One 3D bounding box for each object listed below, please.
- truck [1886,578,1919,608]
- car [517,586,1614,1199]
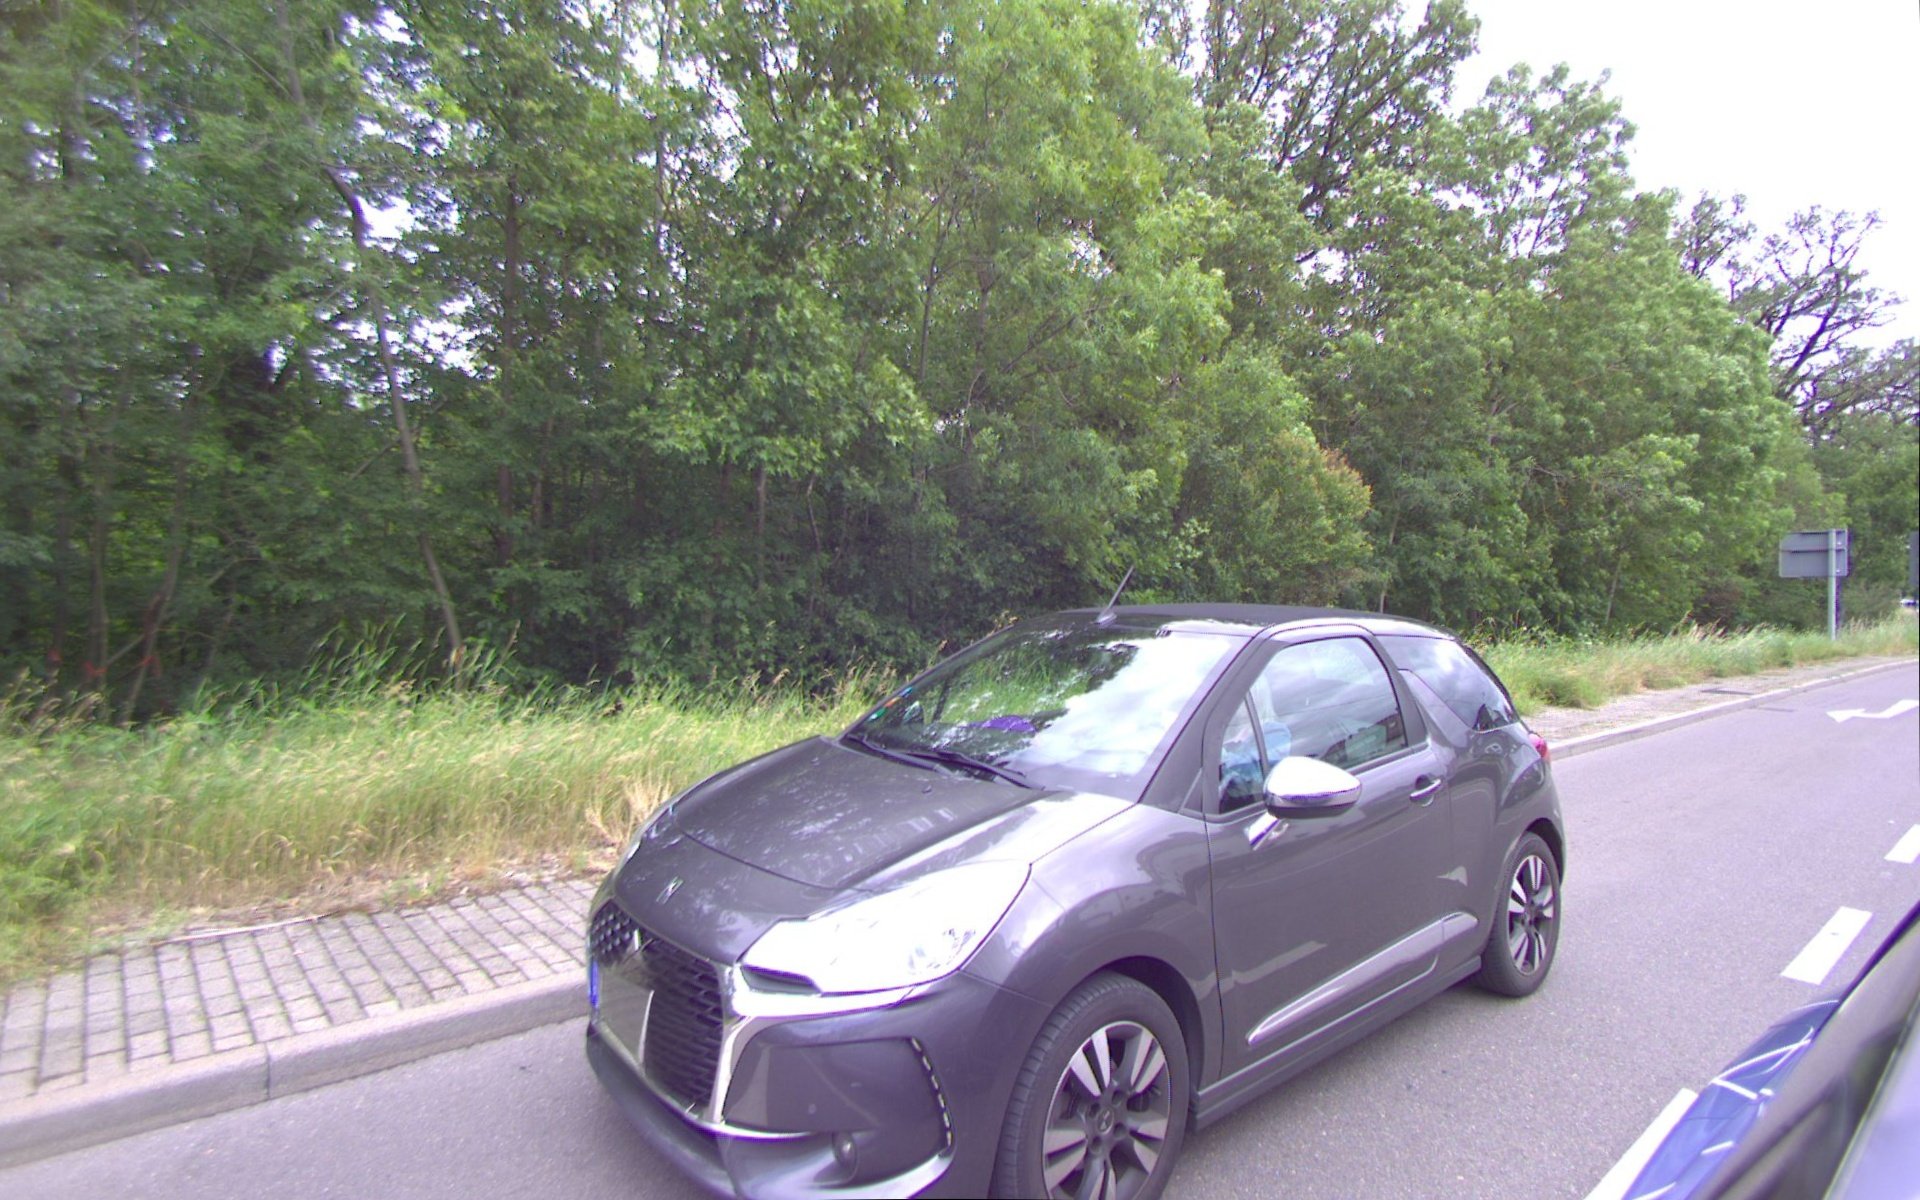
[{"bbox_3d":[117.267,-0.890,125.689,2.995,3.685,6.985,1,1,40],"label":"truck"},{"bbox_3d":[0.668,0.703,3.583,3.786,1.476,1.729,0,0,-40],"label":"car"}]
